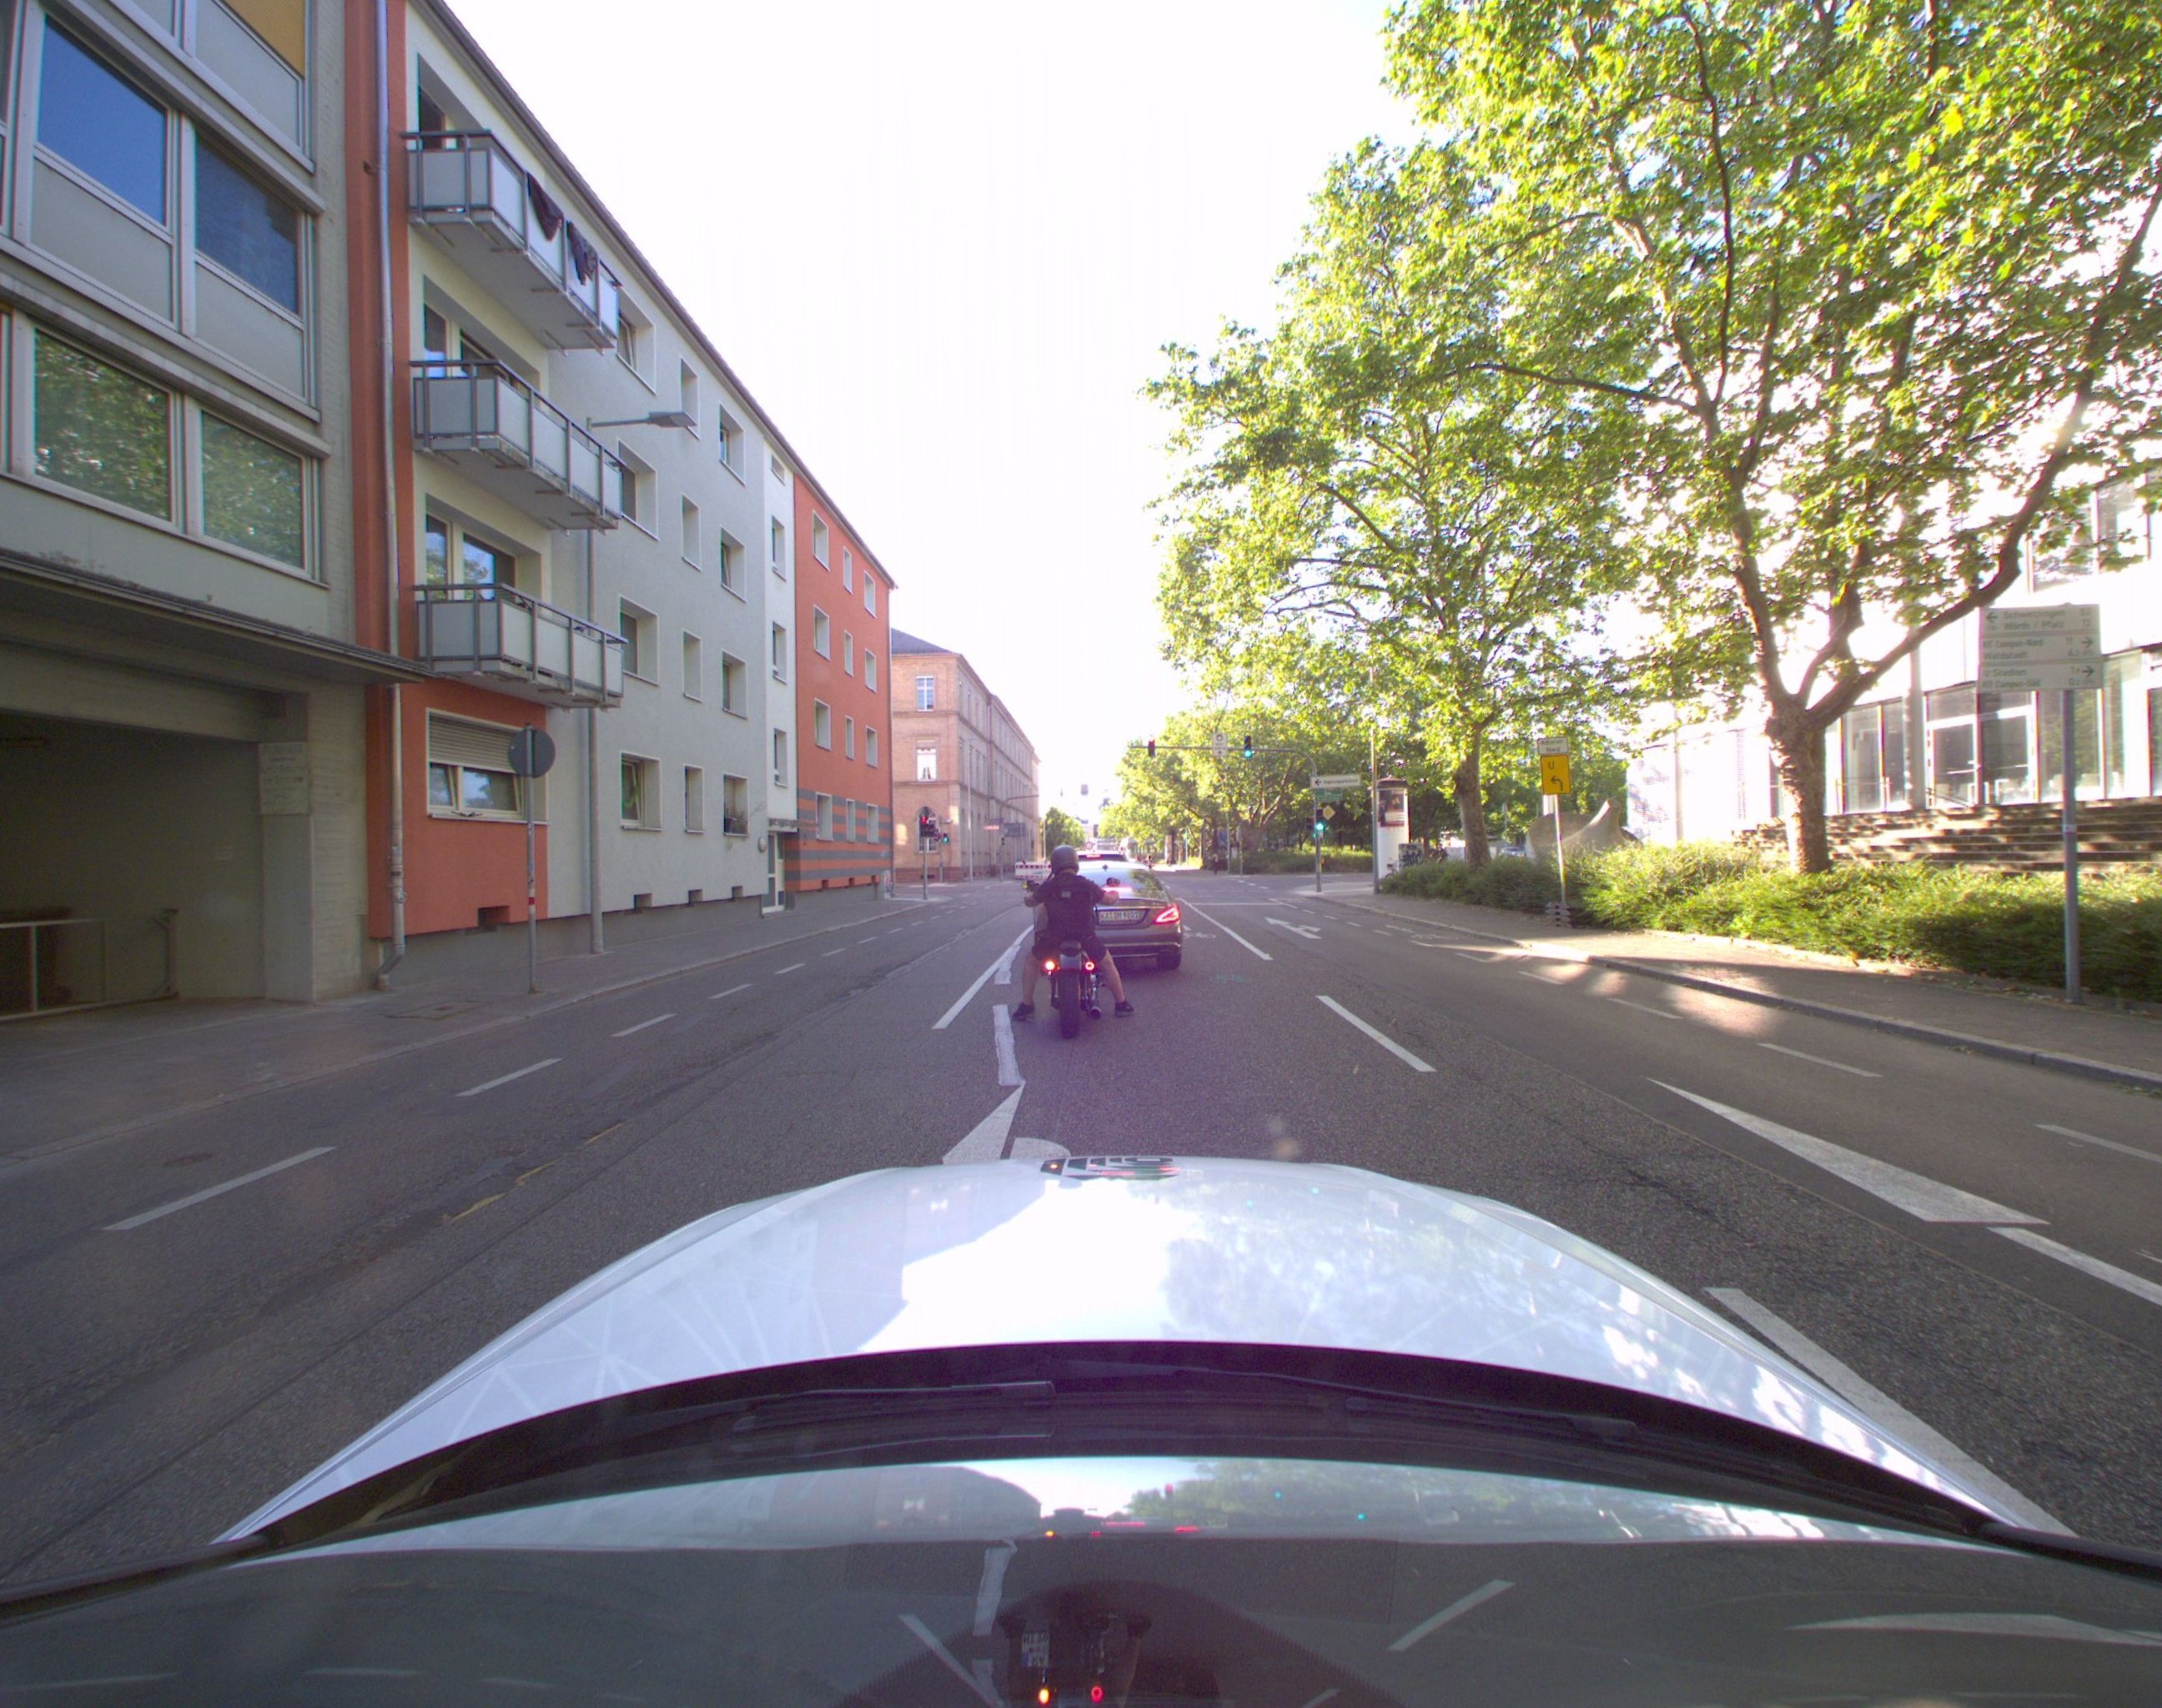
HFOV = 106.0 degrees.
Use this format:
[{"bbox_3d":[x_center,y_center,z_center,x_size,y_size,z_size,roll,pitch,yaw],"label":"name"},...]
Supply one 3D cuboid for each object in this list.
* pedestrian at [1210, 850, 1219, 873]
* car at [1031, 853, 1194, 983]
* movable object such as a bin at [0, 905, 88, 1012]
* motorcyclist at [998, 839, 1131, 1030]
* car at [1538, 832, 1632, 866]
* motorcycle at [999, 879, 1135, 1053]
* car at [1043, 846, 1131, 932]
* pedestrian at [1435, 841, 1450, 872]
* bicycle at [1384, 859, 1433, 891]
[{"bbox_3d":[10.040,0.573,61.282,0.557,1.678,0.565,-1,0,1],"label":"pedestrian"},{"bbox_3d":[0.245,0.754,11.753,1.818,1.476,4.346,-1,0,-5],"label":"car"},{"bbox_3d":[-11.268,1.093,8.636,0.584,1.040,0.712,-1,0,2],"label":"movable object such as a bin"},{"bbox_3d":[-0.124,0.684,7.552,1.109,1.613,1.202,-1,0,1],"label":"motorcyclist"},{"bbox_3d":[28.173,-0.249,45.636,3.975,1.784,2.004,-1,0,7],"label":"car"},{"bbox_3d":[-0.066,0.888,7.481,1.003,1.204,2.666,-1,0,2],"label":"motorcycle"},{"bbox_3d":[0.139,0.677,17.688,1.676,1.625,3.841,-1,0,1],"label":"car"},{"bbox_3d":[21.214,0.142,47.833,0.617,1.784,0.631,-1,0,4],"label":"pedestrian"},{"bbox_3d":[10.975,0.711,27.322,1.411,1.037,0.538,-1,0,-2],"label":"bicycle"}]
